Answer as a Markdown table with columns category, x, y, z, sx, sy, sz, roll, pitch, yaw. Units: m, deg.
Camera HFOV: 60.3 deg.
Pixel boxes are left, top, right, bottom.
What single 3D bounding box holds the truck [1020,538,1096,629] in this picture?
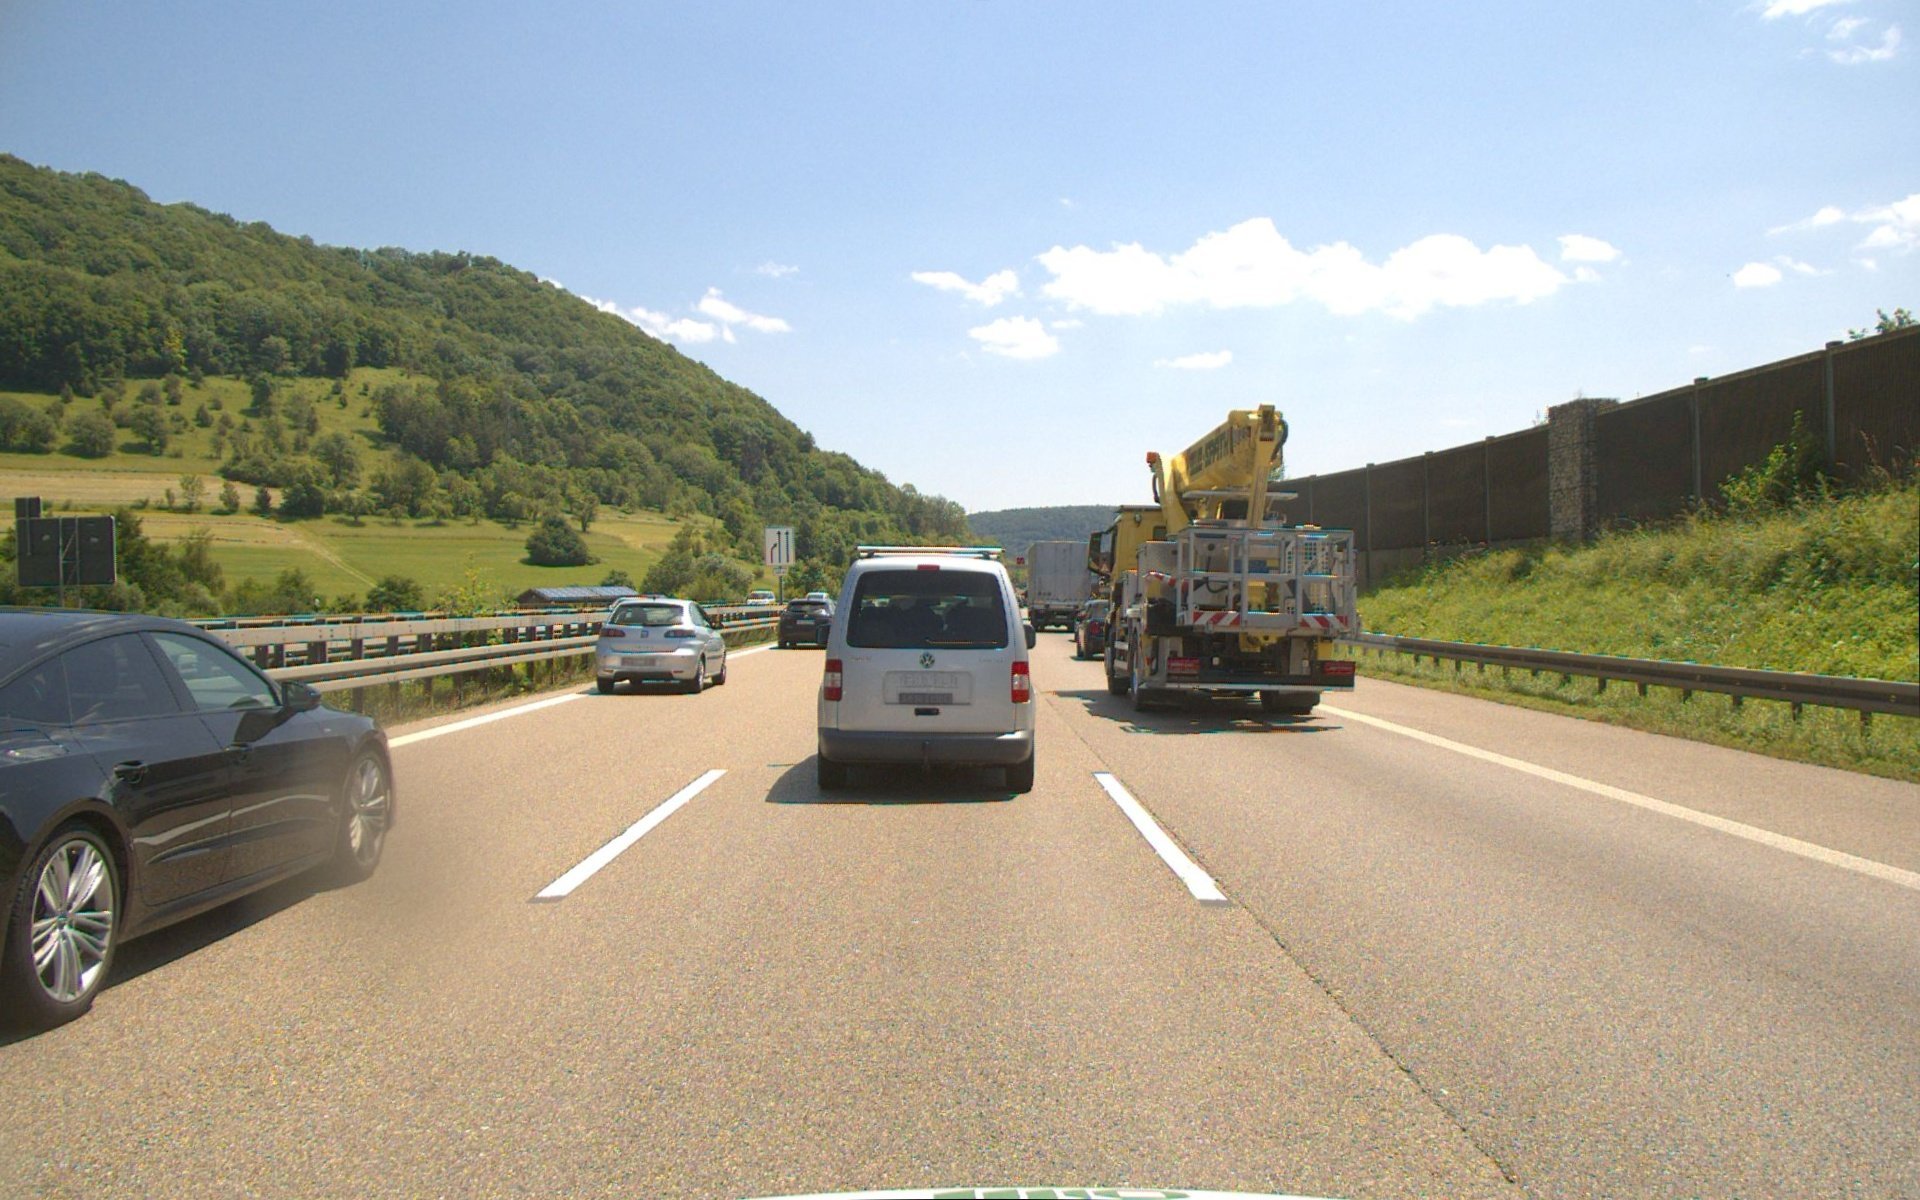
| category | x | y | z | sx | sy | sz | roll | pitch | yaw |
| --- | --- | --- | --- | --- | --- | --- | --- | --- | --- |
| truck | 4.389 | -0.704 | 75.593 | 2.880 | 3.890 | 8.235 | 1 | 0 | 0 |

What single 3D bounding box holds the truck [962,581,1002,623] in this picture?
| category | x | y | z | sx | sy | sz | roll | pitch | yaw |
| --- | --- | --- | --- | --- | --- | --- | --- | --- | --- |
| truck | 1.386 | 0.120 | 105.888 | 2.341 | 2.585 | 5.938 | 0 | 0 | -1 |

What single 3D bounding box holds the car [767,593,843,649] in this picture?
| category | x | y | z | sx | sy | sz | roll | pitch | yaw |
| --- | --- | --- | --- | --- | --- | --- | --- | --- | --- |
| car | -4.456 | 0.579 | 48.050 | 1.886 | 1.525 | 3.999 | 1 | 0 | -1 |

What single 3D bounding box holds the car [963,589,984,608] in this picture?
| category | x | y | z | sx | sy | sz | roll | pitch | yaw |
| --- | --- | --- | --- | --- | --- | --- | --- | --- | --- |
| car | 1.332 | -0.143 | 163.253 | 1.953 | 1.837 | 3.999 | 1 | 0 | 0 |

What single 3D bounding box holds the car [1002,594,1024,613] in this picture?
| category | x | y | z | sx | sy | sz | roll | pitch | yaw |
| --- | --- | --- | --- | --- | --- | --- | --- | --- | --- |
| car | 5.051 | 0.351 | 158.028 | 1.953 | 1.837 | 3.999 | 1 | 0 | 0 |

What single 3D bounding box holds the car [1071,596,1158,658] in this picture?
| category | x | y | z | sx | sy | sz | roll | pitch | yaw |
| --- | --- | --- | --- | --- | --- | --- | --- | --- | --- |
| car | 3.840 | 0.655 | 41.650 | 1.750 | 1.484 | 3.770 | 0 | 0 | -1 |

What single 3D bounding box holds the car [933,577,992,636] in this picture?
| category | x | y | z | sx | sy | sz | roll | pitch | yaw |
| --- | --- | --- | --- | --- | --- | --- | --- | --- | --- |
| car | 0.058 | 0.212 | 57.840 | 1.953 | 2.010 | 3.999 | 0 | 0 | -1 |

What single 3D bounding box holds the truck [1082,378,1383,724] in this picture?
| category | x | y | z | sx | sy | sz | roll | pitch | yaw |
| --- | --- | --- | --- | --- | --- | --- | --- | --- | --- |
| truck | 3.490 | -0.574 | 23.565 | 2.649 | 4.011 | 8.719 | 0 | 0 | -1 |

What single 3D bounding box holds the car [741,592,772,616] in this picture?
| category | x | y | z | sx | sy | sz | roll | pitch | yaw |
| --- | --- | --- | --- | --- | --- | --- | --- | --- | --- |
| car | -16.879 | 0.345 | 137.332 | 2.018 | 1.975 | 4.660 | 0 | 0 | 0 |

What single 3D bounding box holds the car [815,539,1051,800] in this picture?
| category | x | y | z | sx | sy | sz | roll | pitch | yaw |
| --- | --- | --- | --- | --- | --- | --- | --- | --- | --- |
| car | -0.240 | 0.499 | 14.069 | 1.720 | 1.900 | 3.999 | 0 | 0 | -1 |

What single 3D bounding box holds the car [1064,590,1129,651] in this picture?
| category | x | y | z | sx | sy | sz | roll | pitch | yaw |
| --- | --- | --- | --- | --- | --- | --- | --- | --- | --- |
| car | 4.720 | 0.693 | 57.682 | 1.953 | 2.049 | 4.000 | 0 | 0 | 0 |

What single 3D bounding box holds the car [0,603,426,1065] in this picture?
| category | x | y | z | sx | sy | sz | roll | pitch | yaw |
| --- | --- | --- | --- | --- | --- | --- | --- | --- | --- |
| car | -3.880 | 0.731 | 6.884 | 1.764 | 1.415 | 4.968 | 0 | 0 | -1 |

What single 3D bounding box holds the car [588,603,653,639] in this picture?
| category | x | y | z | sx | sy | sz | roll | pitch | yaw |
| --- | --- | --- | --- | --- | --- | --- | --- | --- | --- |
| car | -14.761 | 0.900 | 72.086 | 1.953 | 1.481 | 4.526 | 0 | 0 | -1 |

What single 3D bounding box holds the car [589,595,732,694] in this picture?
| category | x | y | z | sx | sy | sz | roll | pitch | yaw |
| --- | --- | --- | --- | --- | --- | --- | --- | --- | --- |
| car | -4.739 | 0.662 | 26.617 | 1.661 | 1.470 | 3.861 | 0 | 0 | -1 |

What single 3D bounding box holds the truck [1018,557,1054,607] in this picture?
| category | x | y | z | sx | sy | sz | roll | pitch | yaw |
| --- | --- | --- | --- | --- | --- | --- | --- | --- | --- |
| truck | 5.279 | -1.187 | 115.328 | 1.953 | 3.308 | 6.797 | 1 | 0 | -1 |

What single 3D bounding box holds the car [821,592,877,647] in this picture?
| category | x | y | z | sx | sy | sz | roll | pitch | yaw |
| --- | --- | --- | --- | --- | --- | --- | --- | --- | --- |
| car | -4.263 | 0.720 | 63.849 | 1.953 | 2.049 | 3.999 | -1 | 0 | -1 |
